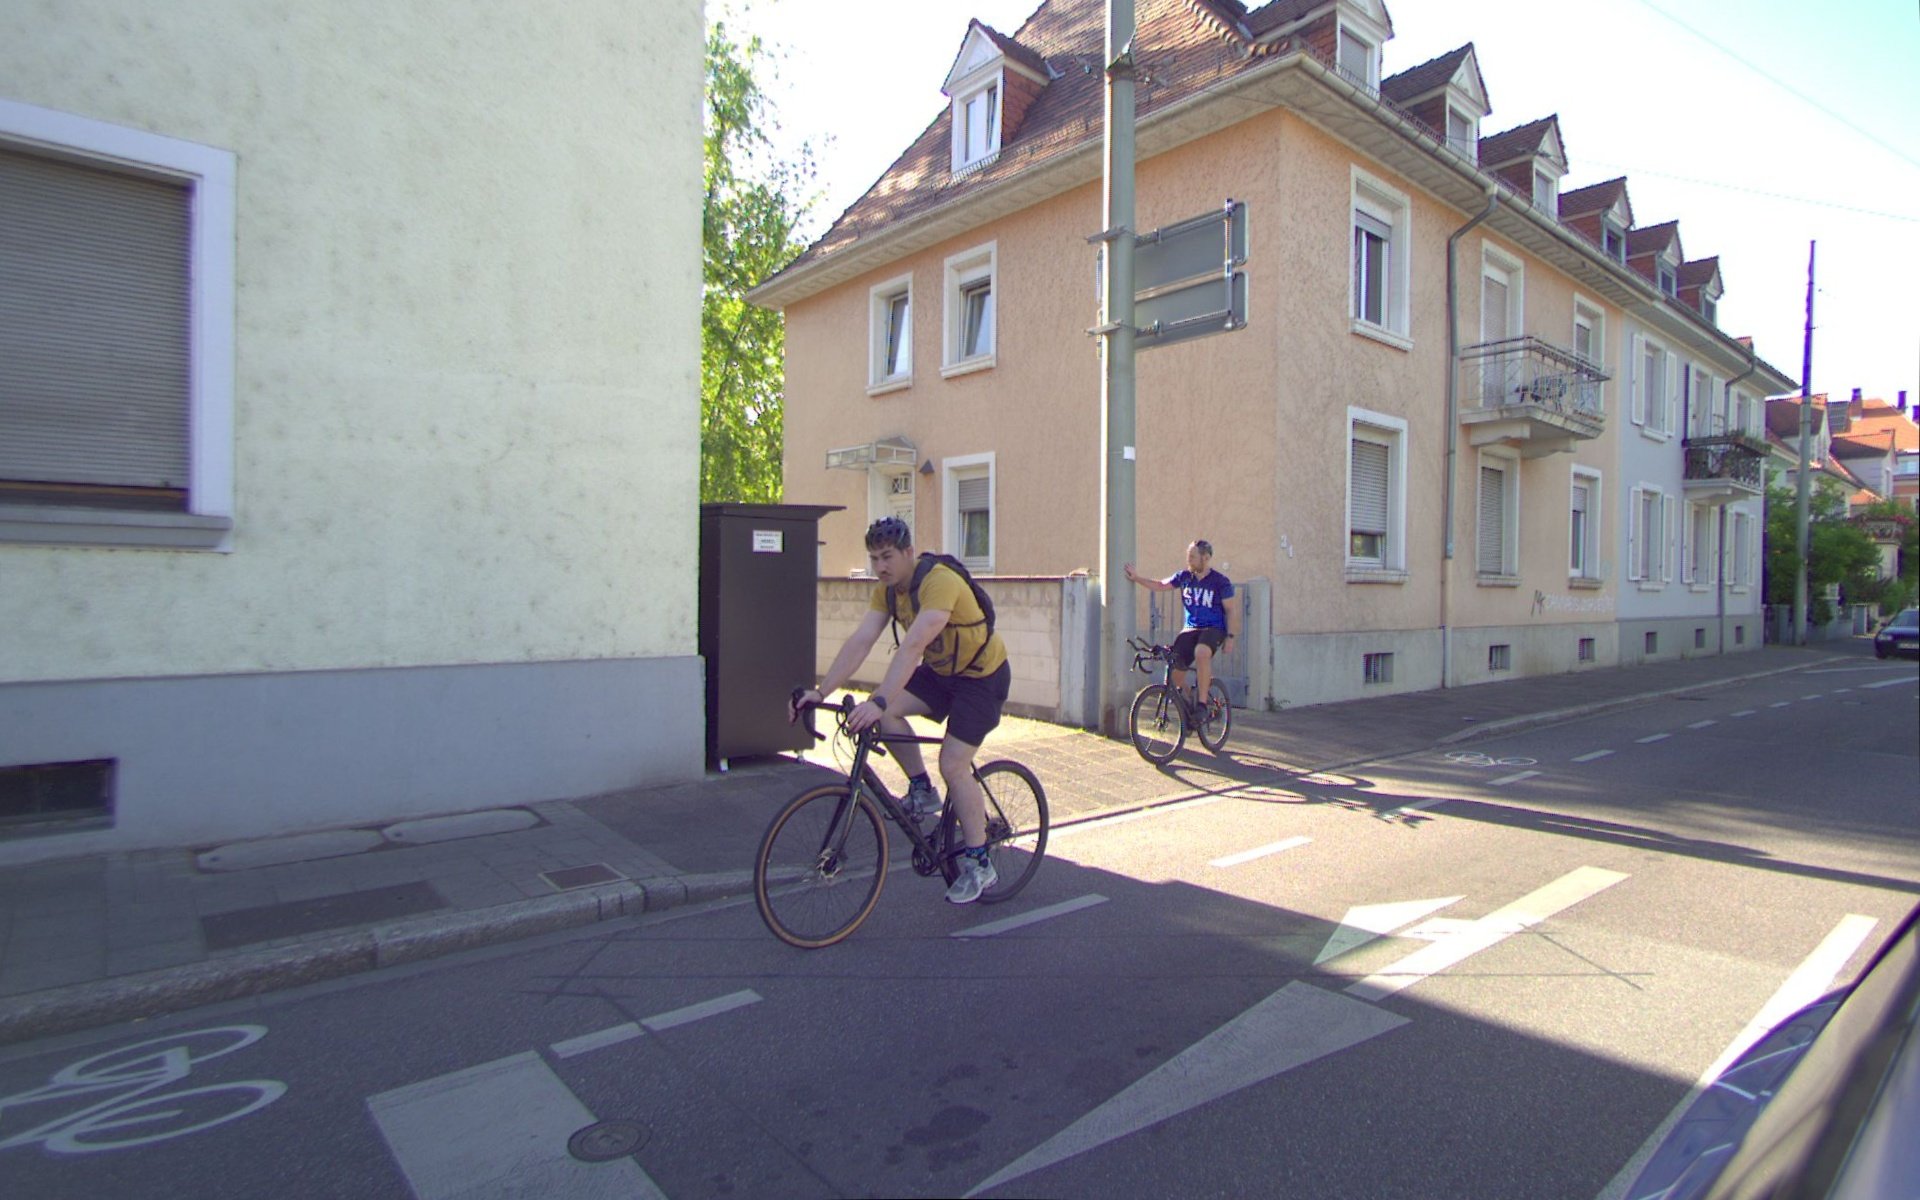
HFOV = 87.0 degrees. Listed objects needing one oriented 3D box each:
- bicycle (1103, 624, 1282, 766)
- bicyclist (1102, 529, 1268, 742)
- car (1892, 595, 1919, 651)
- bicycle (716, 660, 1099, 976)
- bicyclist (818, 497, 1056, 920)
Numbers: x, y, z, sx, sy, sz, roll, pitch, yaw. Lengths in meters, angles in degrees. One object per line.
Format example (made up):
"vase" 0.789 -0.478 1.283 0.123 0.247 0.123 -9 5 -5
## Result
"bicycle" 2.096 0.792 9.004 1.689 1.064 0.595 0 6 -41
"bicyclist" 2.039 0.273 9.254 0.838 1.758 1.072 0 6 -40
"car" 26.658 0.607 27.337 3.932 1.438 1.845 0 1 -42
"bicycle" -0.177 0.886 4.705 1.778 1.101 0.611 0 1 -41
"bicyclist" -0.097 0.439 4.694 0.939 1.743 0.582 0 1 -41
